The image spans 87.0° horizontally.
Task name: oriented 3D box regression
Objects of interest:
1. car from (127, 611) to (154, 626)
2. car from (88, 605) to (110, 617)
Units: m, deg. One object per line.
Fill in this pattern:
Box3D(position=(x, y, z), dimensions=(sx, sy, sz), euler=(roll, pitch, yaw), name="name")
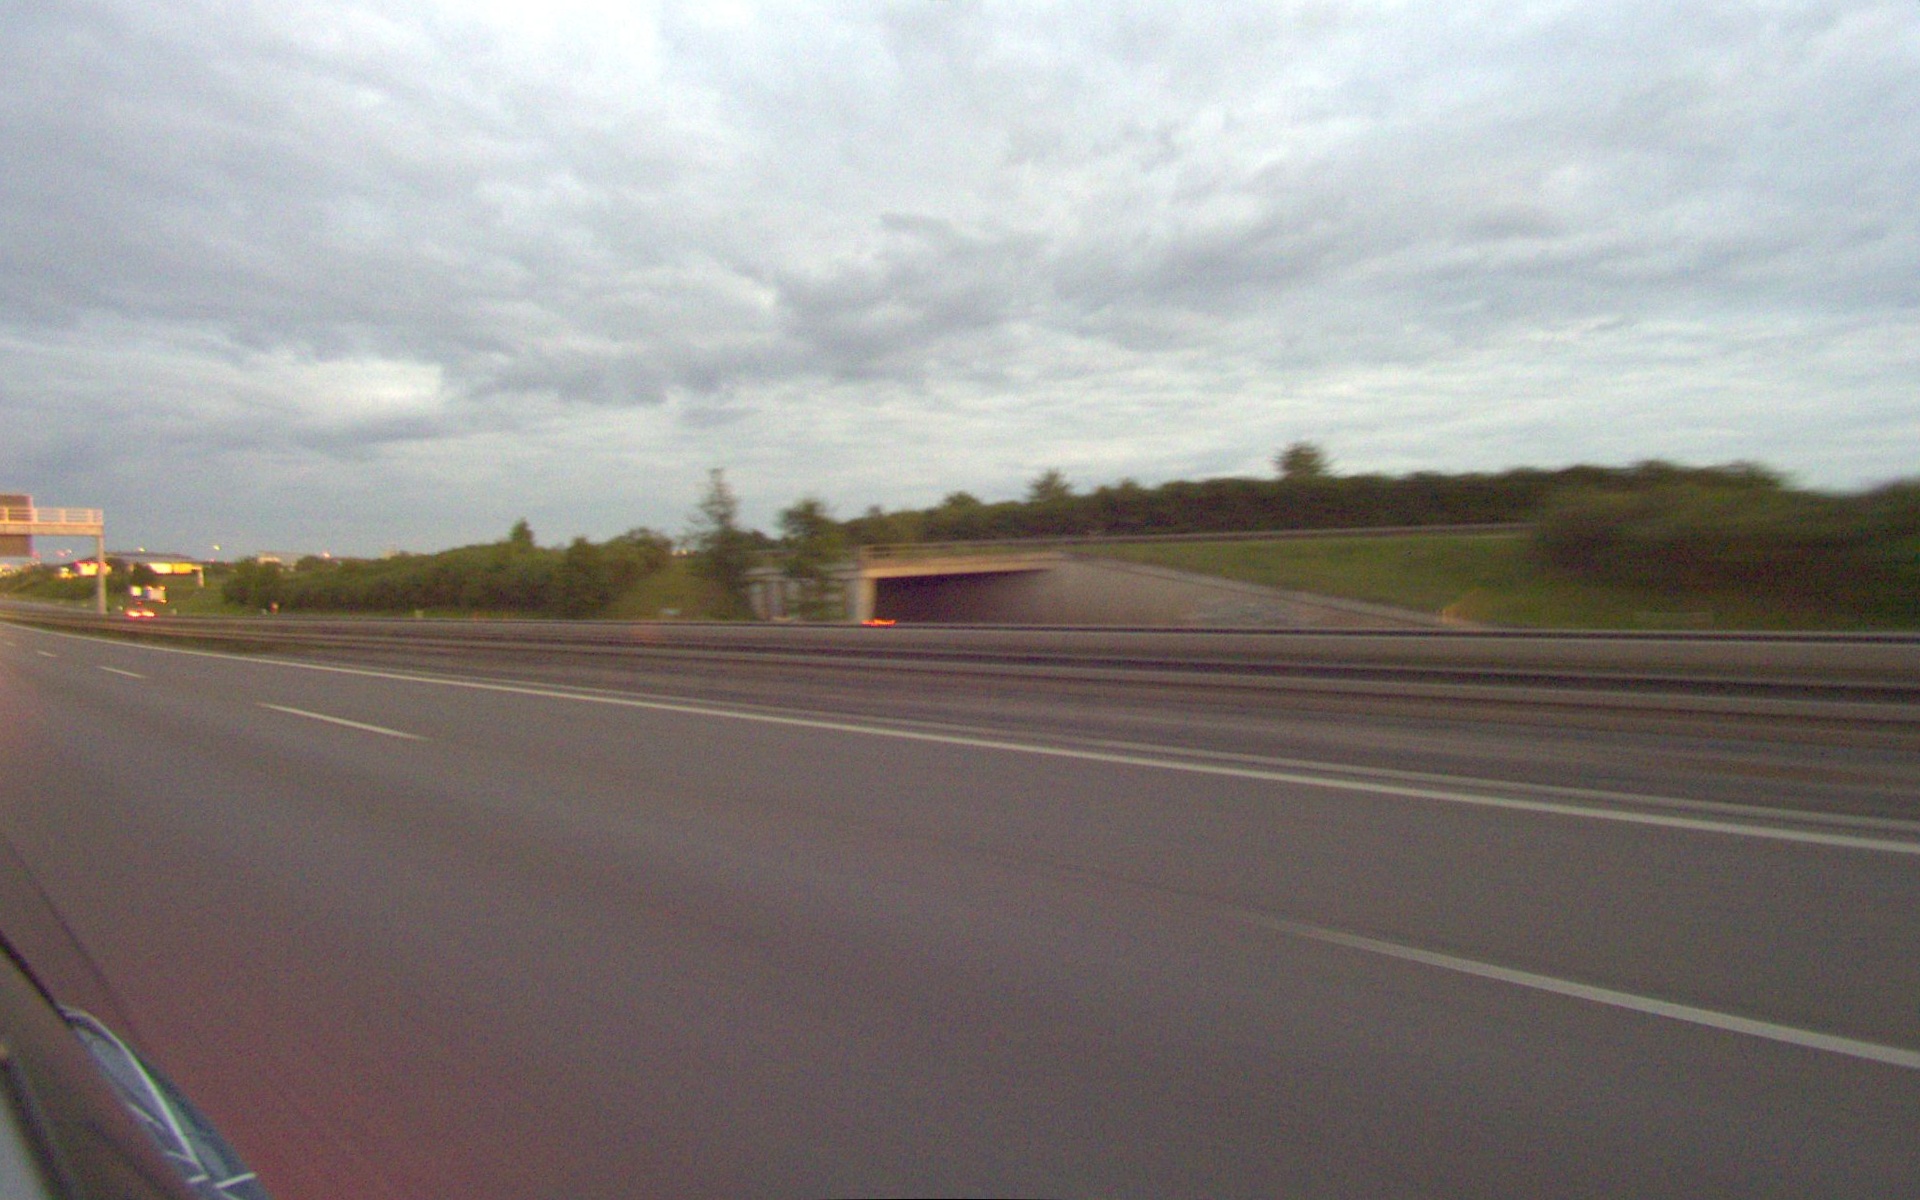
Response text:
Box3D(position=(-86.417, 1.917, 106.701), dimensions=(4.430, 1.411, 1.671), euler=(1, 4, 44), name="car")
Box3D(position=(-110.174, 1.390, 129.478), dimensions=(4.430, 1.411, 1.671), euler=(1, 4, 44), name="car")
